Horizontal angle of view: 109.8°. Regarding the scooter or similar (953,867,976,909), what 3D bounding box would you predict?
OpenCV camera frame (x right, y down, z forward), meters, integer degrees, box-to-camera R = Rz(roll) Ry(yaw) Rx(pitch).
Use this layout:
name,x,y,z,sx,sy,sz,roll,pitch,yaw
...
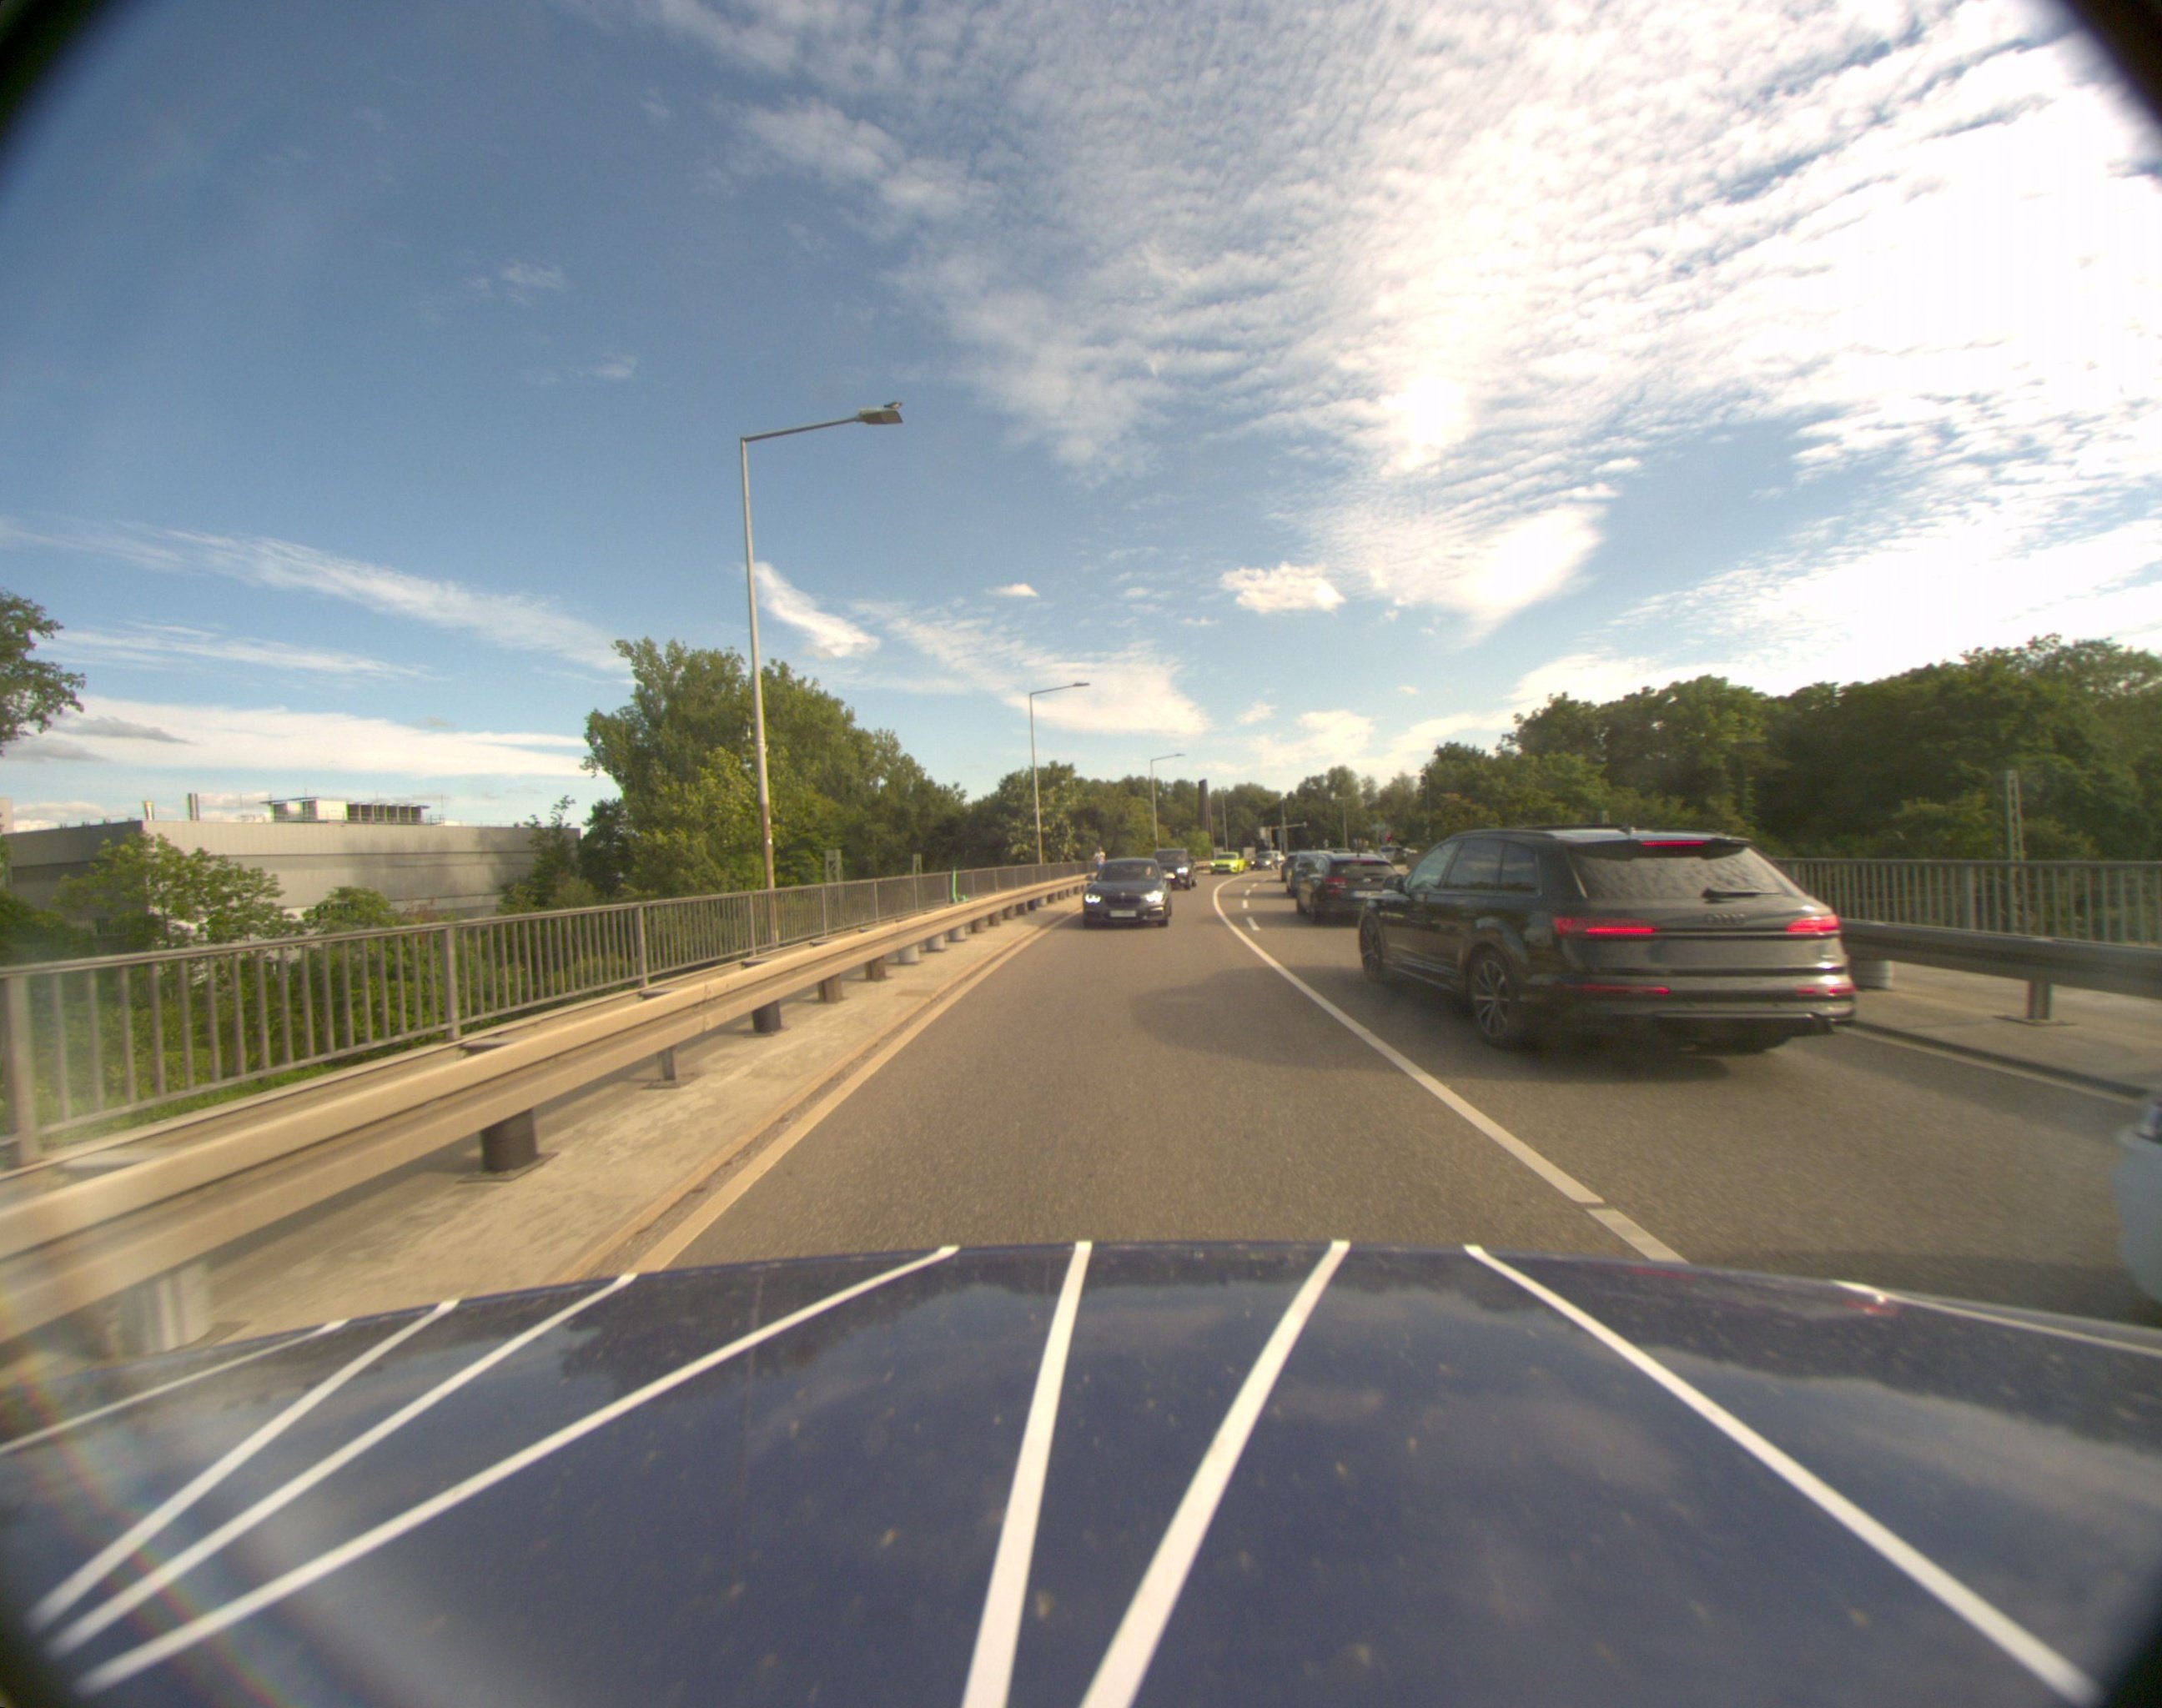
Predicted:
name,x,y,z,sx,sy,sz,roll,pitch,yaw
scooter or similar,-3.350,0.965,21.832,0.266,1.155,1.189,-1,1,10

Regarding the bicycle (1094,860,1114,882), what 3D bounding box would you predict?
name,x,y,z,sx,sy,sz,roll,pitch,yaw
bicycle,1.203,0.876,39.823,0.596,1.114,1.699,-1,1,17

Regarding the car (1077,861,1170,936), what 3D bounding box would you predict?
name,x,y,z,sx,sy,sz,roll,pitch,yaw
car,1.053,0.887,16.867,1.785,1.396,3.972,-1,0,7

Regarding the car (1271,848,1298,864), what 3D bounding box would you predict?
name,x,y,z,sx,sy,sz,roll,pitch,yaw
car,18.580,0.180,69.315,1.688,1.315,3.790,-1,1,25

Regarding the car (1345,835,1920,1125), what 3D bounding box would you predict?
name,x,y,z,sx,sy,sz,roll,pitch,yaw
car,4.013,0.717,6.818,1.833,1.662,4.867,-1,0,3

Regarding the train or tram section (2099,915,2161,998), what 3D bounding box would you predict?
name,x,y,z,sx,sy,sz,roll,pitch,yaw
train or tram section,54.881,4.954,37.436,6.839,3.762,2.051,-1,1,-1

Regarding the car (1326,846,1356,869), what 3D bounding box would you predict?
name,x,y,z,sx,sy,sz,roll,pitch,yaw
car,20.362,0.265,59.435,1.775,1.736,3.843,0,1,25

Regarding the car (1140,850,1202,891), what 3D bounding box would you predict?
name,x,y,z,sx,sy,sz,roll,pitch,yaw
car,3.781,0.627,31.187,1.816,1.498,4.396,-1,0,16

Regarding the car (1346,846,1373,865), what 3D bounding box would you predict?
name,x,y,z,sx,sy,sz,roll,pitch,yaw
car,25.900,0.106,70.612,1.775,1.736,3.844,0,1,28

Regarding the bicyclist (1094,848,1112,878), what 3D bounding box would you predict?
name,x,y,z,sx,sy,sz,roll,pitch,yaw
bicyclist,1.161,0.456,39.674,0.708,1.548,0.755,-1,1,17

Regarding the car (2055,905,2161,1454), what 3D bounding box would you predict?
name,x,y,z,sx,sy,sz,roll,pitch,yaw
car,3.748,0.908,0.242,1.744,1.492,4.078,-1,0,3

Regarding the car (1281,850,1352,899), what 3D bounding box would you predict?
name,x,y,z,sx,sy,sz,roll,pitch,yaw
car,7.815,0.617,25.532,1.763,1.481,4.394,-1,0,10

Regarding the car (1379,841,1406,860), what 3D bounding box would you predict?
name,x,y,z,sx,sy,sz,roll,pitch,yaw
car,34.503,-0.395,84.001,1.986,1.953,5.057,0,1,31

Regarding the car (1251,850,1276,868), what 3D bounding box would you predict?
name,x,y,z,sx,sy,sz,roll,pitch,yaw
car,14.448,0.343,60.102,1.688,1.315,3.789,-1,1,17

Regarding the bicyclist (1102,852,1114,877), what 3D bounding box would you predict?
name,x,y,z,sx,sy,sz,roll,pitch,yaw
bicyclist,1.424,0.560,40.158,0.500,1.294,0.539,-1,1,17

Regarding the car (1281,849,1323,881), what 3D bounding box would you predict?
name,x,y,z,sx,sy,sz,roll,pitch,yaw
car,10.917,0.503,37.425,1.815,1.448,4.330,-1,0,18

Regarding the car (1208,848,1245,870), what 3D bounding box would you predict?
name,x,y,z,sx,sy,sz,roll,pitch,yaw
car,9.810,0.316,51.045,1.816,1.396,4.397,-1,0,19

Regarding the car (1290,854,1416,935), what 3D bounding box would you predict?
name,x,y,z,sx,sy,sz,roll,pitch,yaw
car,5.765,0.773,16.646,1.763,1.481,4.448,-1,0,9

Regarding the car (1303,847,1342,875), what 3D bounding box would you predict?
name,x,y,z,sx,sy,sz,roll,pitch,yaw
car,15.625,0.415,49.000,1.871,1.656,4.637,0,1,24
